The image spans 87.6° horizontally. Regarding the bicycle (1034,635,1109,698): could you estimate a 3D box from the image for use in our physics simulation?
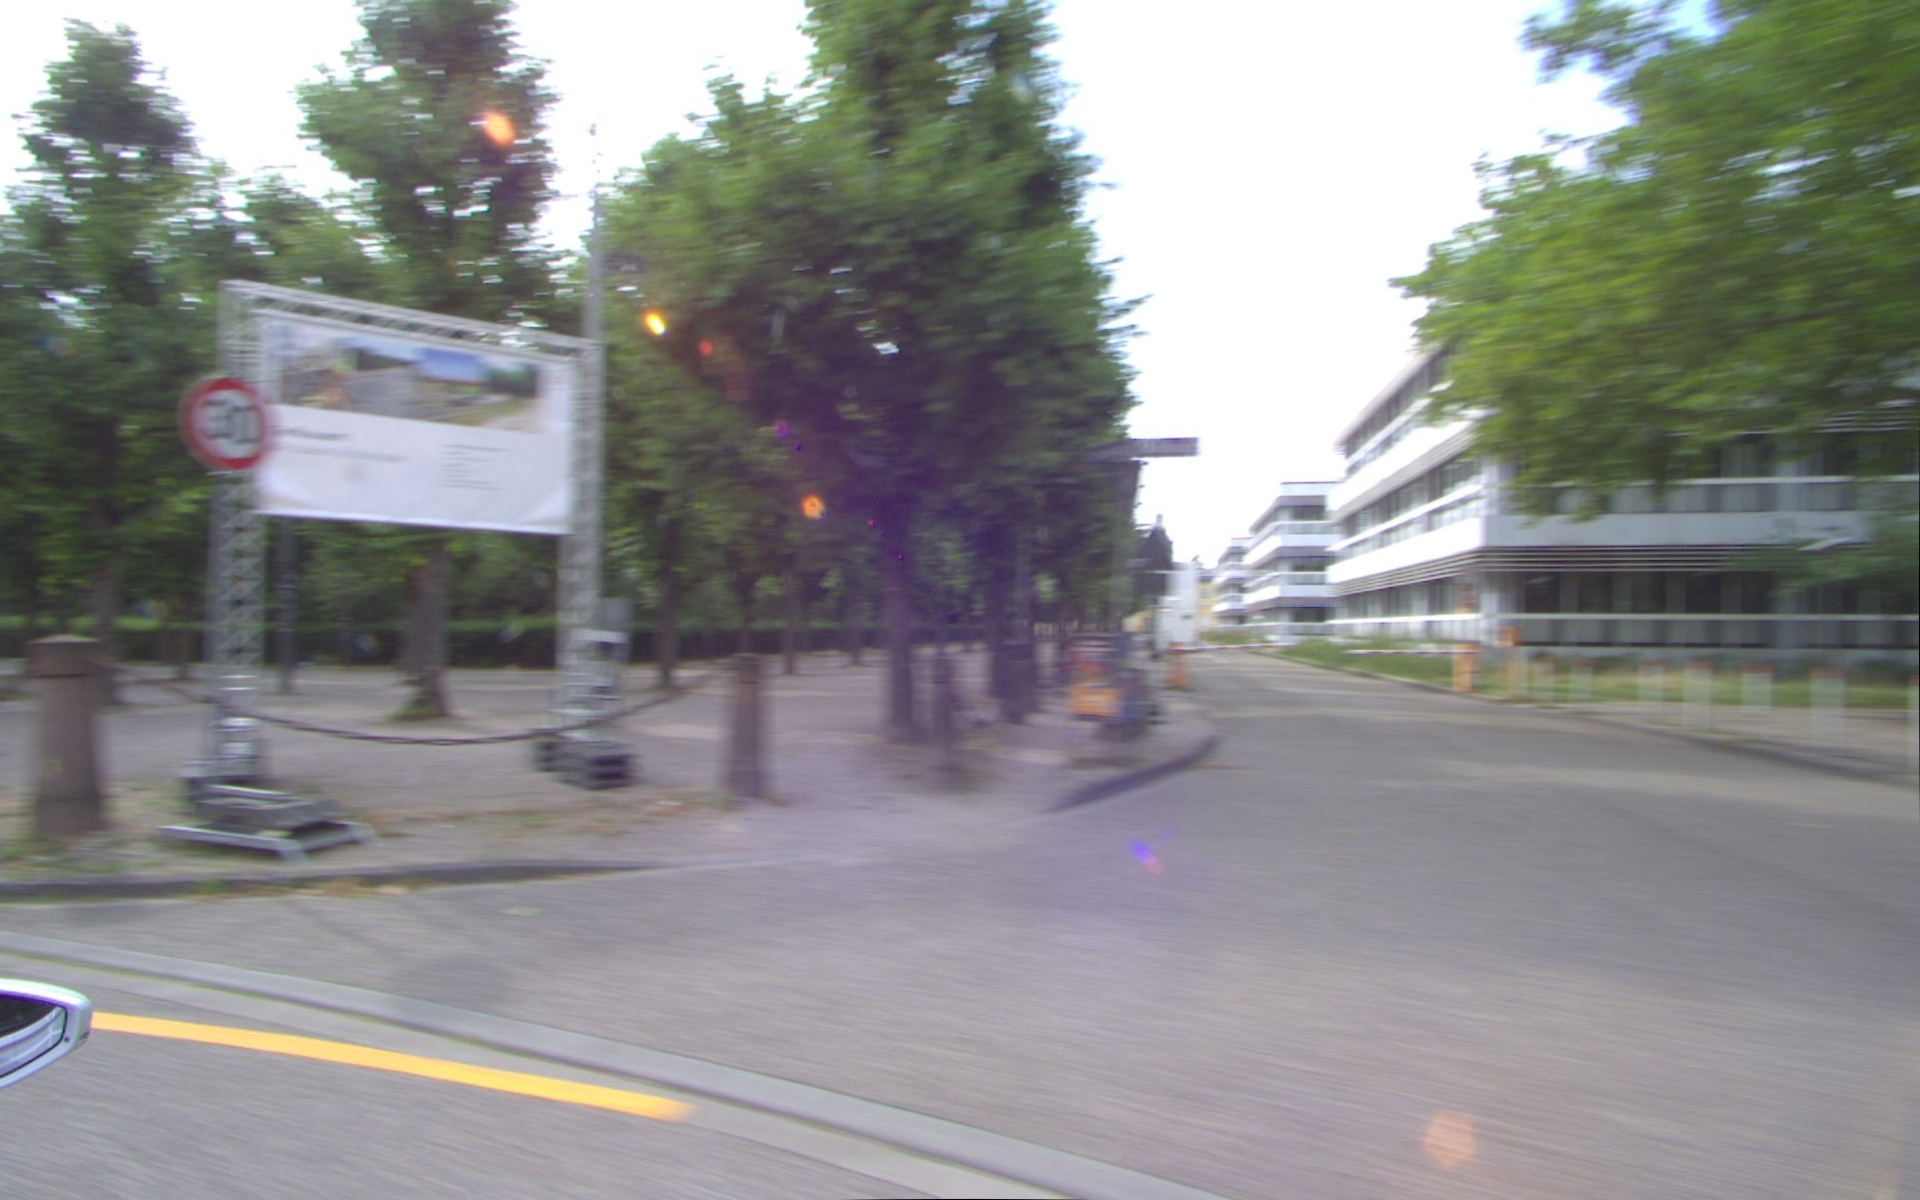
[{"bbox_3d":[2.257,1.333,20.648,0.937,1.124,2.579,2,-1,-7],"label":"bicycle"}]
